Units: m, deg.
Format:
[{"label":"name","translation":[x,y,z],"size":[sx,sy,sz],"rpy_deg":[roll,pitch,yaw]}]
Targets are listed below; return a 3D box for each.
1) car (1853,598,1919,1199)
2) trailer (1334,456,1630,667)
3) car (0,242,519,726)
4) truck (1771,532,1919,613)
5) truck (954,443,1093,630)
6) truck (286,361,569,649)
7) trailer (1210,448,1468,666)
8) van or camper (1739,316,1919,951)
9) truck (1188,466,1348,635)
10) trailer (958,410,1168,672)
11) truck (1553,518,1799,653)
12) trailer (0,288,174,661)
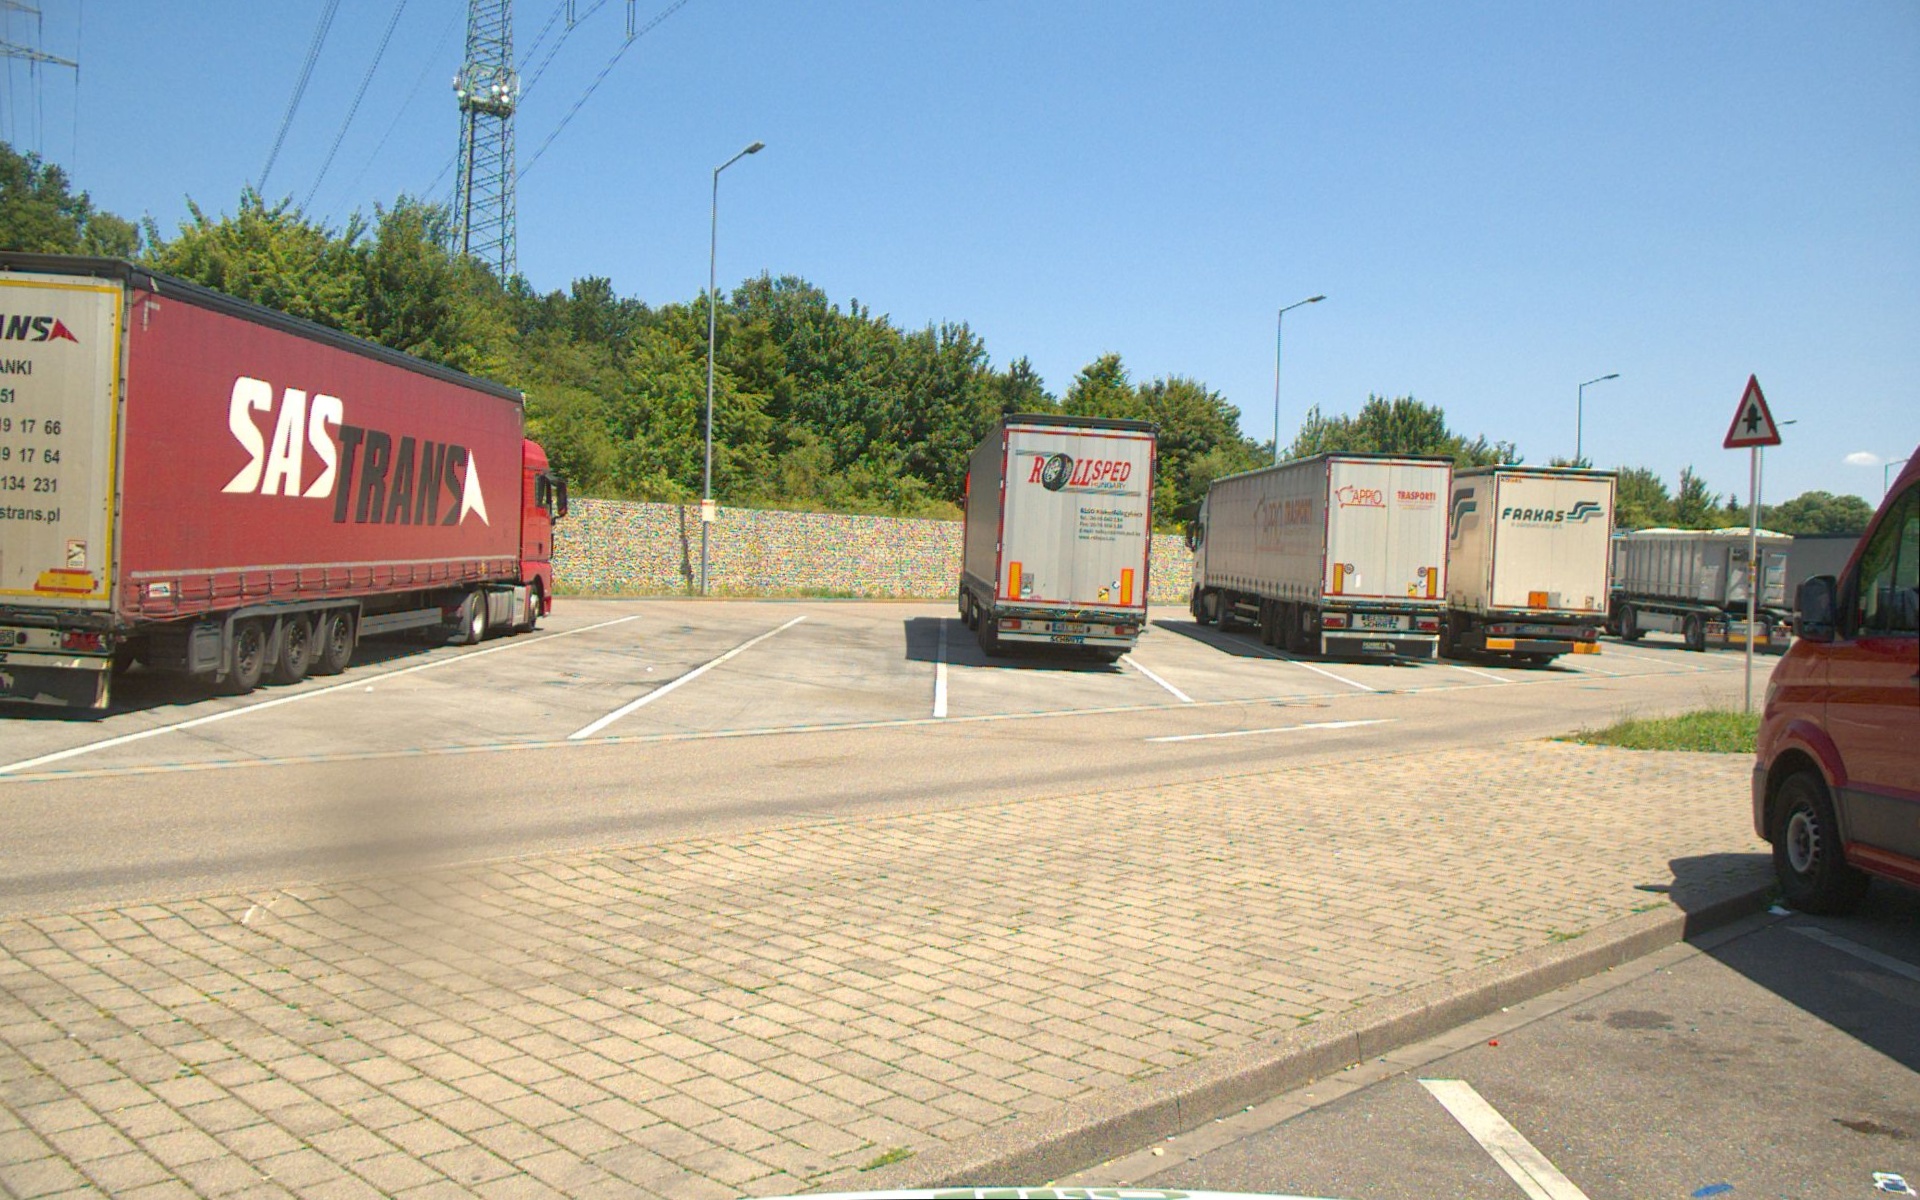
[{"label":"car","translation":[2.532,0.800,1.086],"size":[1.584,1.509,3.762],"rpy_deg":[1,1,-6]},{"label":"trailer","translation":[11.817,-1.023,39.196],"size":[2.808,4.107,12.438],"rpy_deg":[2,2,-1]},{"label":"car","translation":[-8.683,-1.281,20.935],"size":[2.641,4.184,12.935],"rpy_deg":[2,2,0]},{"label":"truck","translation":[34.697,-1.066,63.609],"size":[2.082,2.869,9.777],"rpy_deg":[1,1,-1]},{"label":"truck","translation":[1.418,-1.567,40.724],"size":[2.809,4.107,7.026],"rpy_deg":[2,2,-2]},{"label":"truck","translation":[-8.704,-1.530,27.852],"size":[2.641,4.184,6.239],"rpy_deg":[2,2,0]},{"label":"trailer","translation":[8.240,-1.089,38.079],"size":[2.808,4.107,12.438],"rpy_deg":[2,2,-1]},{"label":"van or camper","translation":[4.982,0.178,5.534],"size":[1.954,2.700,6.482],"rpy_deg":[1,1,3]},{"label":"truck","translation":[8.161,-1.385,44.709],"size":[2.808,4.107,6.956],"rpy_deg":[2,2,-1]},{"label":"trailer","translation":[1.648,-1.240,33.644],"size":[2.809,4.107,14.238],"rpy_deg":[2,2,-2]},{"label":"truck","translation":[21.743,-0.648,51.217],"size":[2.437,3.630,11.423],"rpy_deg":[2,2,-1]},{"label":"trailer","translation":[-12.553,-1.406,17.137],"size":[2.756,4.340,12.940],"rpy_deg":[2,2,-1]}]
